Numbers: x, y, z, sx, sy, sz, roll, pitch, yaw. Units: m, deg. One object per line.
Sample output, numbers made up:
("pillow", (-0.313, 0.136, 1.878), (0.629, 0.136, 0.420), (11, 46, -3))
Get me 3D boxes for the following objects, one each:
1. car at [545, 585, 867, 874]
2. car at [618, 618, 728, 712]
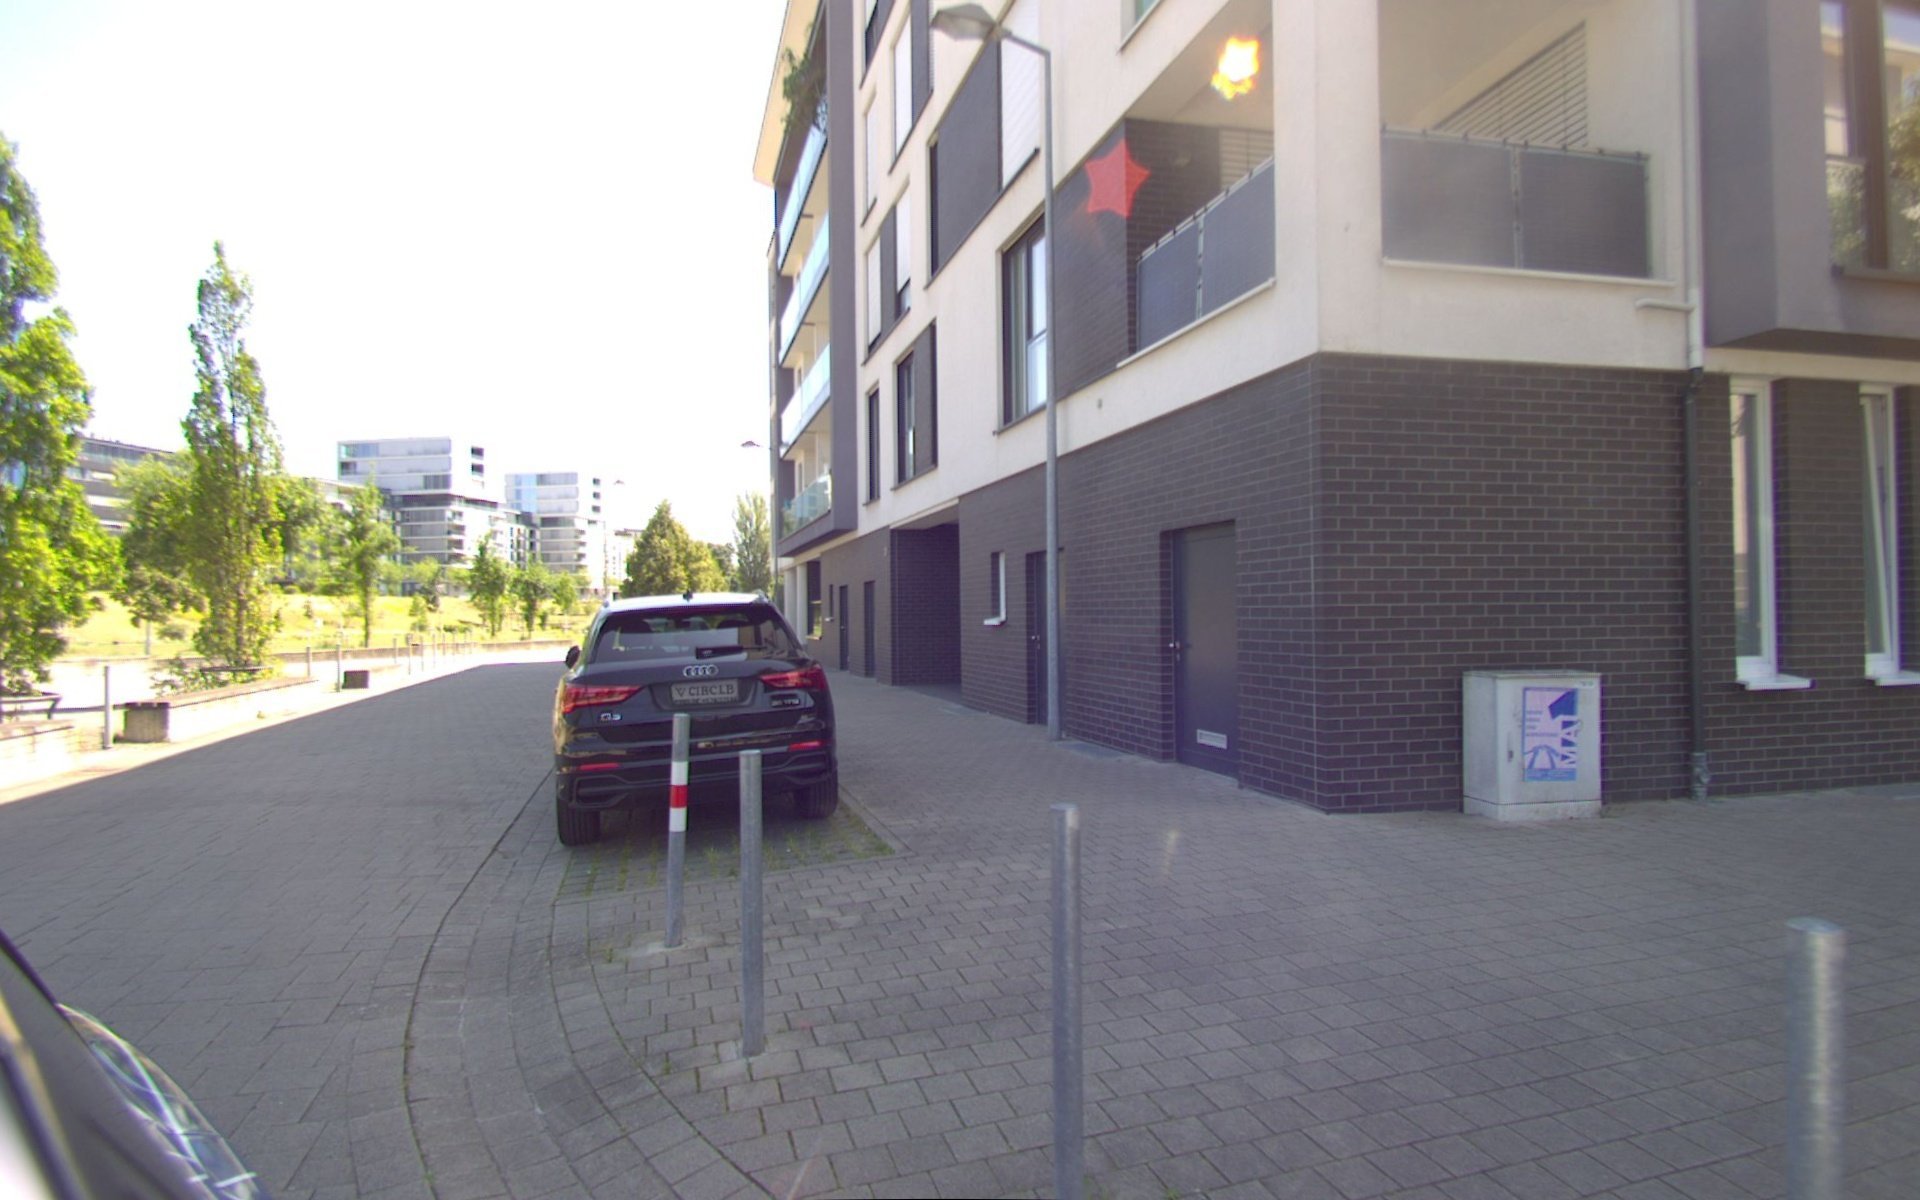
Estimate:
("car", (-2.121, 0.771, 7.907), (1.749, 1.531, 4.410), (-2, -1, -19))
("car", (-5.515, 1.157, 19.243), (1.758, 1.516, 4.127), (-2, -1, -18))
